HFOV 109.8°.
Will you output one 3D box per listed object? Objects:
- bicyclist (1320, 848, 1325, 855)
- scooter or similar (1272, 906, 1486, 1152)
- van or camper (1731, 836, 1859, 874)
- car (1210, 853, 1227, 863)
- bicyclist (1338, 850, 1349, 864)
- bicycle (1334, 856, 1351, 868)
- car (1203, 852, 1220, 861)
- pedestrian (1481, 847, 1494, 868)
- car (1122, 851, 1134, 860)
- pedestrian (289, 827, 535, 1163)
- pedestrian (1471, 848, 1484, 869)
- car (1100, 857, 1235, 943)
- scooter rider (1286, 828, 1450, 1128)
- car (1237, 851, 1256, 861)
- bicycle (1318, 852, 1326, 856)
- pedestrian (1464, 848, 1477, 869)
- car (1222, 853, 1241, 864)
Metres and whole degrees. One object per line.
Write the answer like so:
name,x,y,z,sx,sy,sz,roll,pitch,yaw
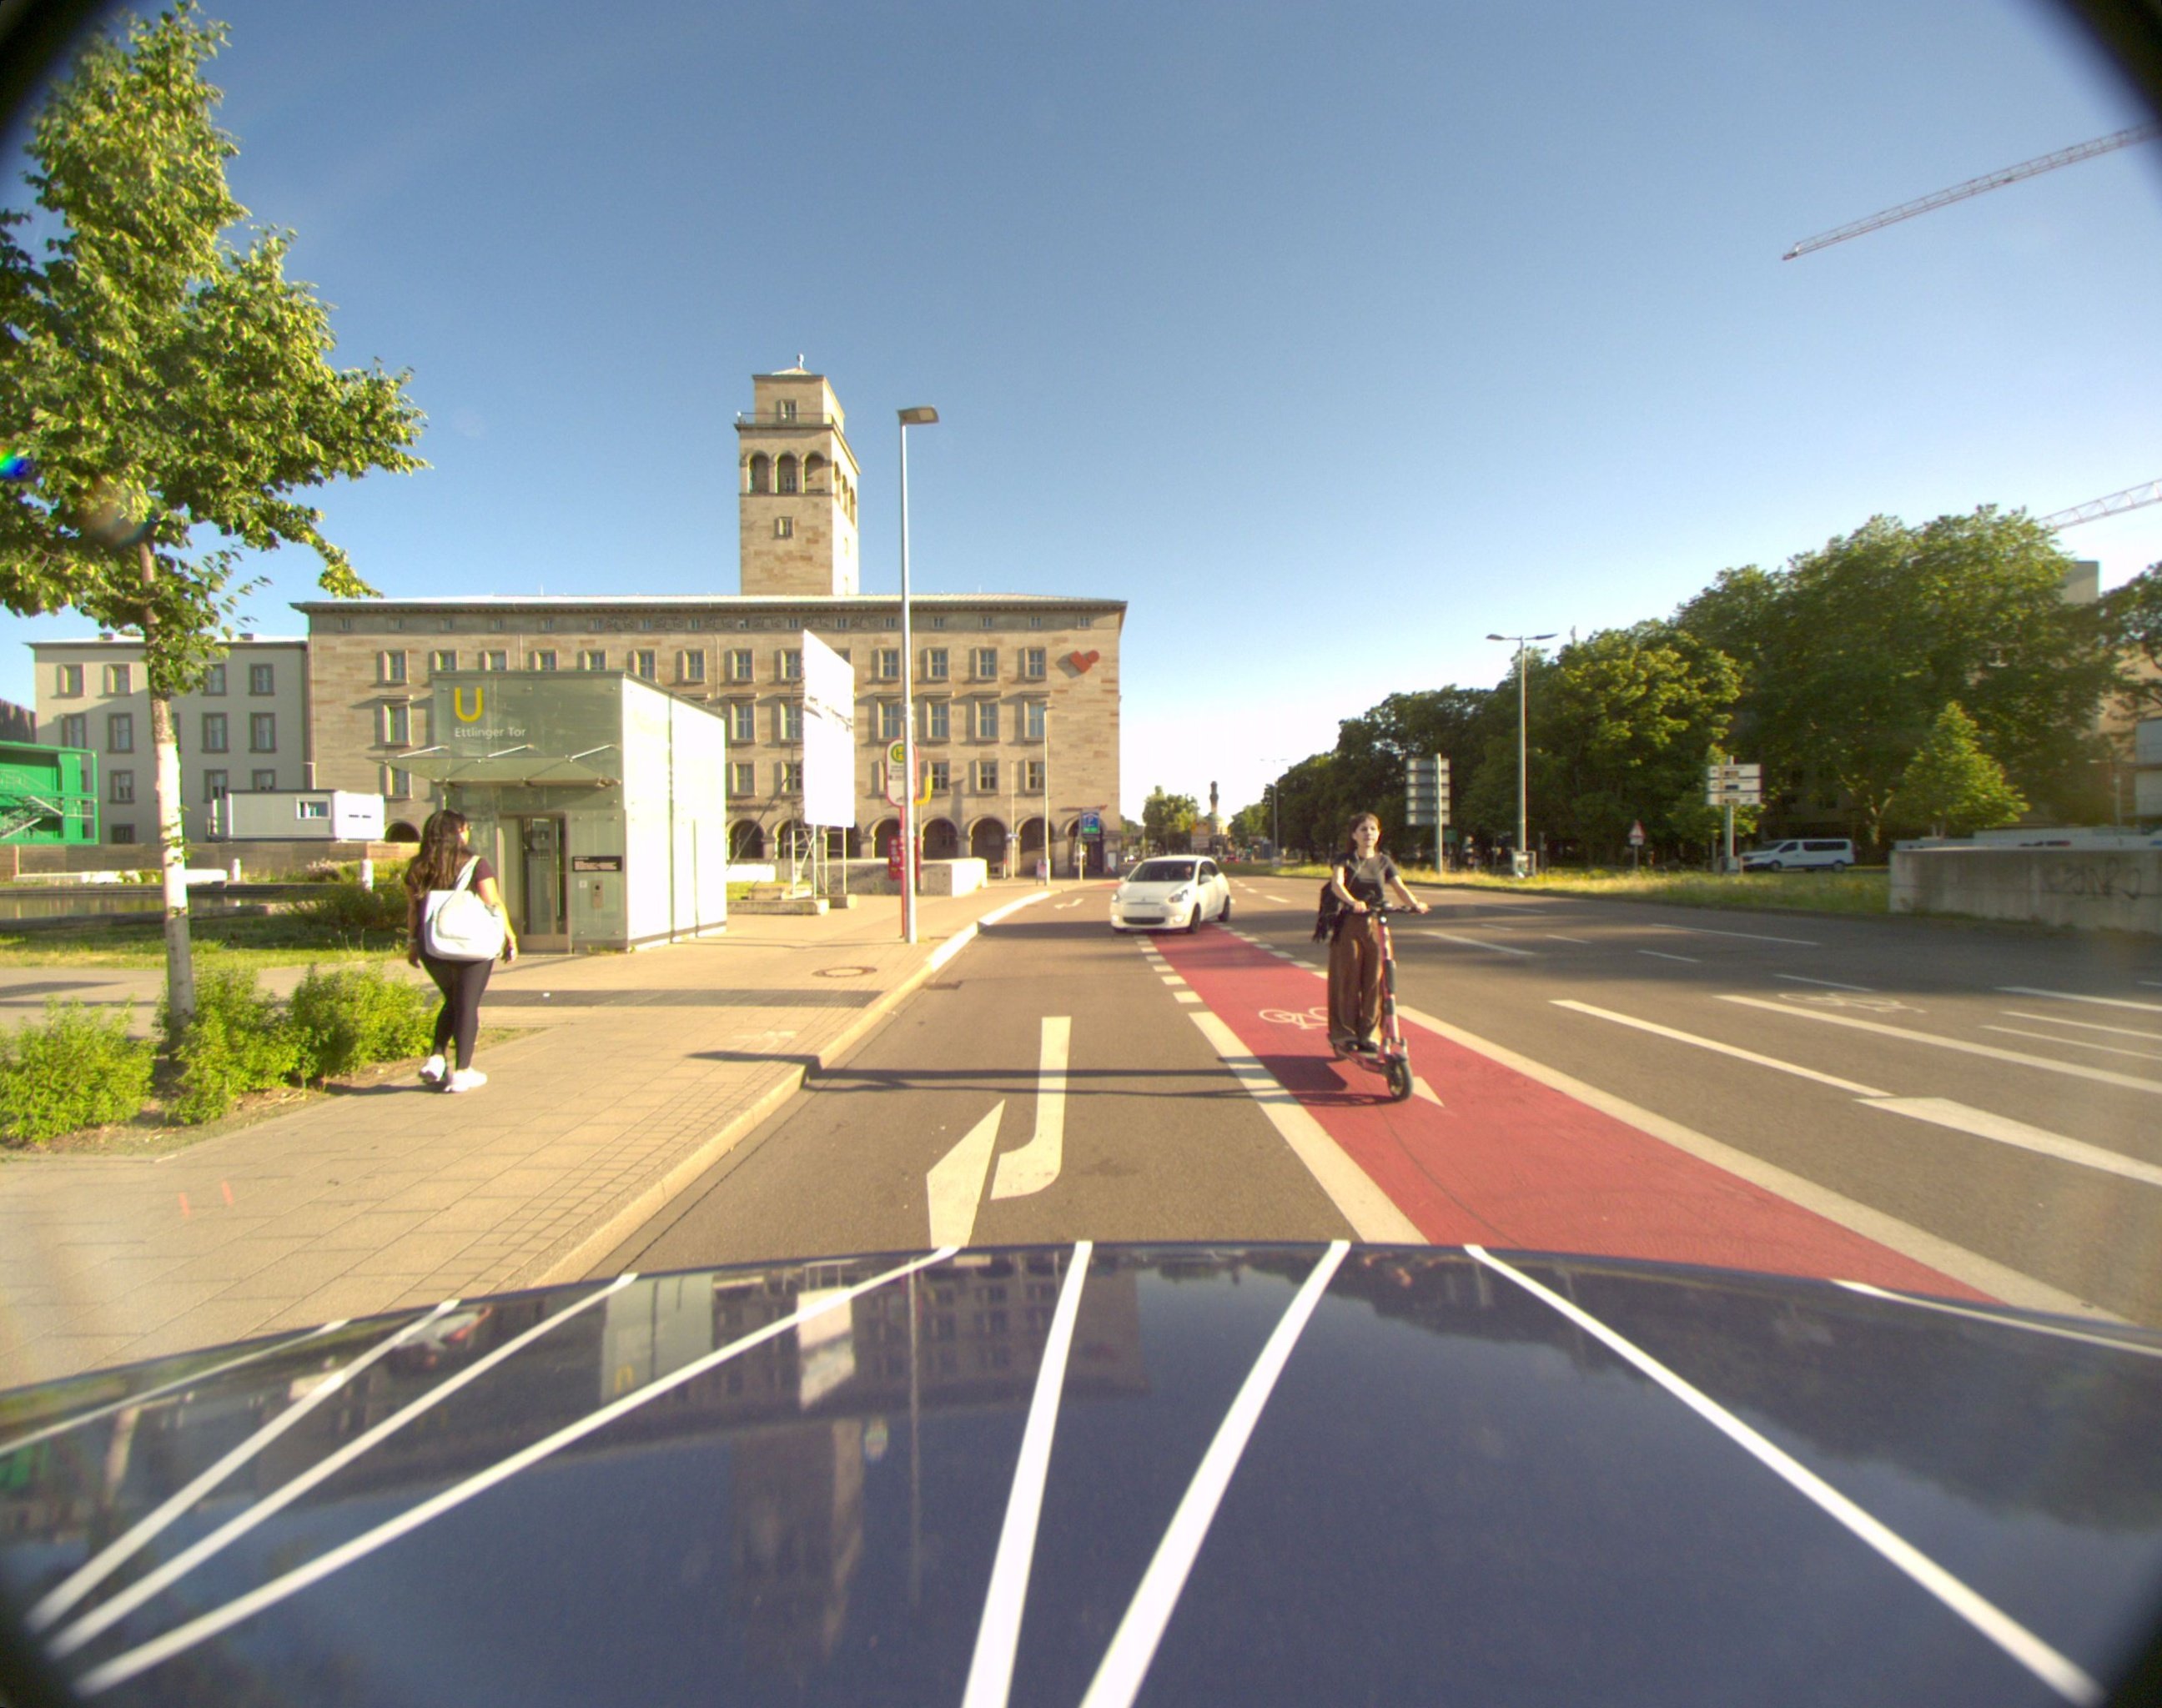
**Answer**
bicyclist,42.051,-0.476,132.463,0.609,1.274,0.716,0,1,40
scooter or similar,1.813,1.001,4.920,0.730,1.195,1.664,-1,0,1
van or camper,42.294,0.064,45.086,5.649,2.002,1.948,-2,1,2
car,20.599,0.577,113.728,1.872,1.390,4.000,-1,0,1
bicyclist,24.435,0.292,70.823,0.639,1.275,0.885,-1,1,-4
bicycle,24.415,0.747,71.011,0.639,1.016,2.242,-1,0,-4
car,20.486,0.368,119.607,1.873,1.390,3.999,-1,0,-2
pedestrian,33.585,0.313,62.783,0.707,1.715,0.762,-1,1,1
car,8.681,0.214,139.624,1.998,1.652,4.000,-1,0,1
pedestrian,-4.022,0.740,4.700,0.944,1.776,1.070,-1,1,-32
pedestrian,32.805,0.342,62.848,0.665,1.715,0.762,-1,1,1
car,1.899,0.846,15.588,1.676,1.440,3.895,-2,0,23
scooter rider,1.809,0.733,4.899,0.730,1.764,0.811,-1,1,1
car,26.055,0.260,119.603,1.999,1.499,3.999,-1,0,-2
bicycle,42.056,-0.004,132.474,0.609,0.838,1.749,0,1,40
pedestrian,32.055,0.375,62.529,0.707,1.715,0.762,-1,1,1
car,21.313,0.619,107.708,1.872,1.390,3.999,-1,0,-1
